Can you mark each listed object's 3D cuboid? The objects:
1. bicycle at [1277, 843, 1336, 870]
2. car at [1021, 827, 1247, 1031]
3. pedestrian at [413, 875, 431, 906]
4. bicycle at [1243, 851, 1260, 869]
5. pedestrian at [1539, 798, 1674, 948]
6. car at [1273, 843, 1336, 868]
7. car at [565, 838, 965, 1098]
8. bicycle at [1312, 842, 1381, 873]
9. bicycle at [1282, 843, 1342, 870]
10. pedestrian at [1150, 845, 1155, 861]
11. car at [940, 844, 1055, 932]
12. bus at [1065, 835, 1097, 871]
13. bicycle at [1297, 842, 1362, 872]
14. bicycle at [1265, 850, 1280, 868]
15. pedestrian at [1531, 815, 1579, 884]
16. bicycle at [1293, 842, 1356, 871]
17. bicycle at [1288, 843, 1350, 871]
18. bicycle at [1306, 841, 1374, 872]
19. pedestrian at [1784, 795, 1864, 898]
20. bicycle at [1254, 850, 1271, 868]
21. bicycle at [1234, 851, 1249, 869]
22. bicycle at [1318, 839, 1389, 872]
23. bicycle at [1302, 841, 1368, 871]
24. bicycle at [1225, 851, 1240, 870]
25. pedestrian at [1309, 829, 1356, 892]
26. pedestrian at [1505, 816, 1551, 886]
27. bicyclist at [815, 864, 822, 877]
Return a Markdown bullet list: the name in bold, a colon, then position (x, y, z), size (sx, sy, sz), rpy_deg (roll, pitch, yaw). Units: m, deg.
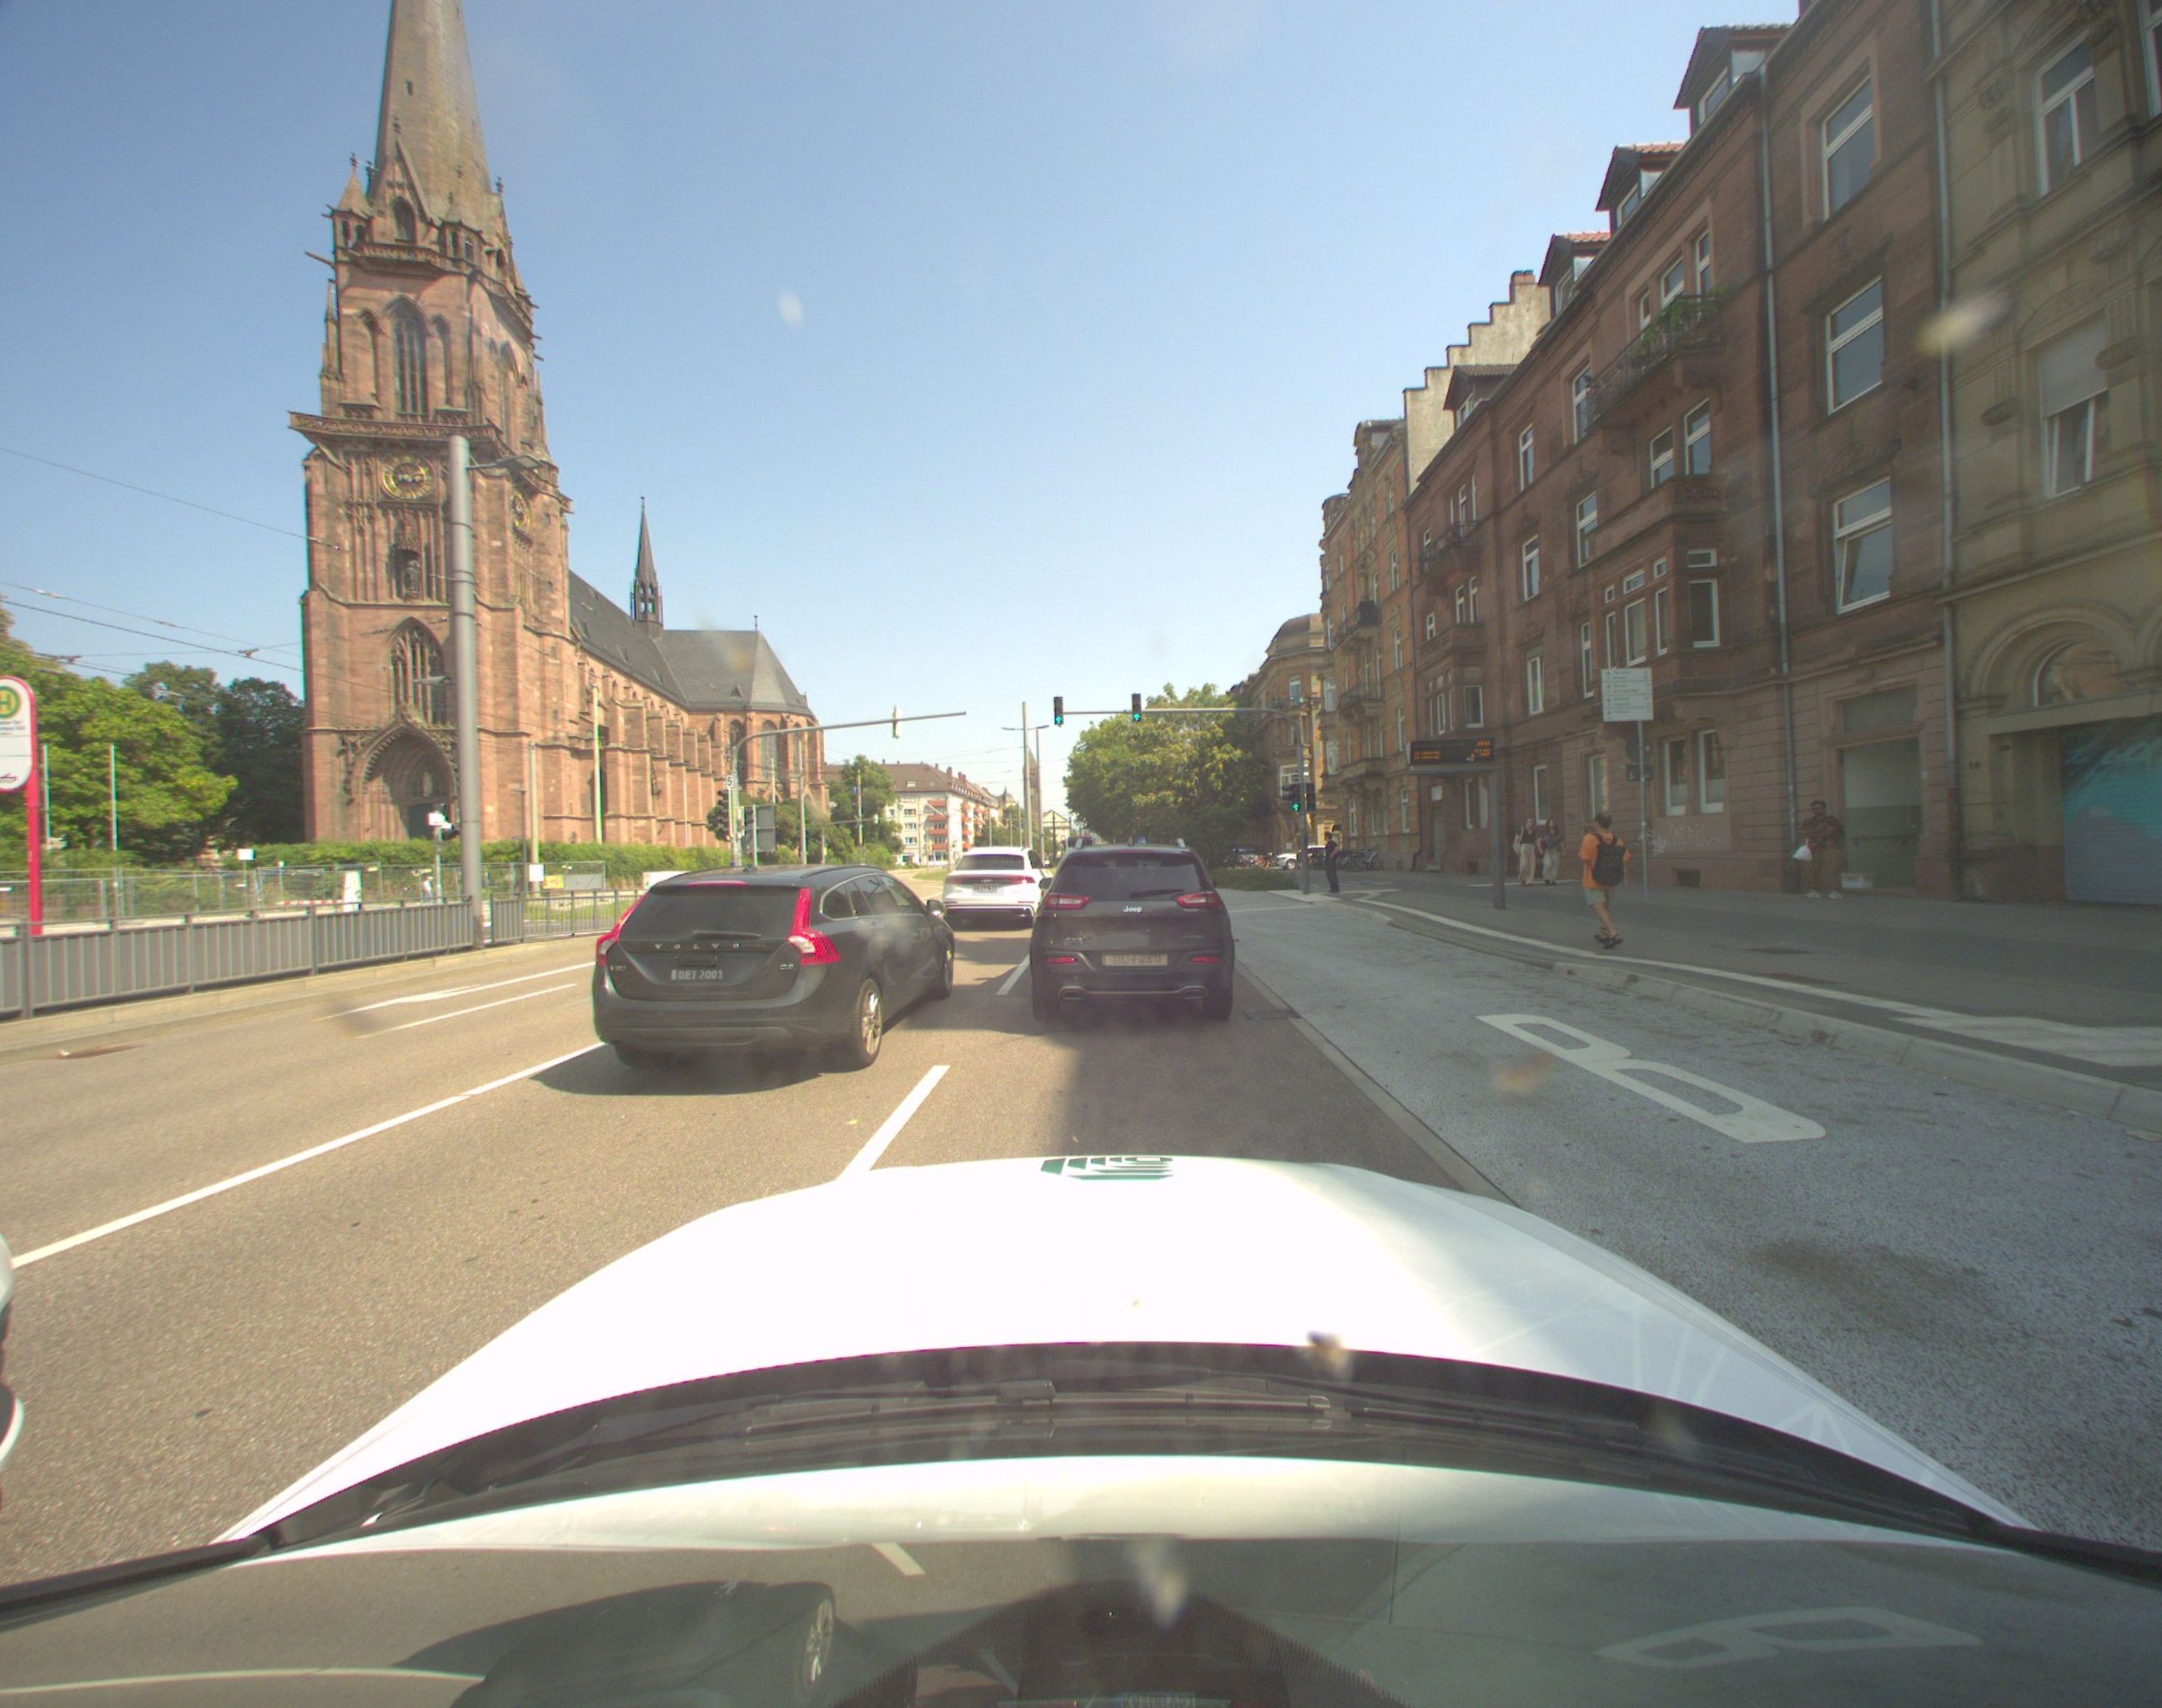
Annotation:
- **bicycle**: position (12.727, 0.129, 46.033), size (2.993, 1.373, 0.948), rpy_deg (-2, 0, 1)
- **car**: position (0.546, 0.613, 8.841), size (1.825, 1.651, 4.312), rpy_deg (-1, 0, 3)
- **pedestrian**: position (-33.372, 1.854, 41.239), size (0.543, 1.531, 0.433), rpy_deg (-2, 0, -13)
- **bicycle**: position (12.192, 0.394, 58.327), size (0.729, 1.253, 3.017), rpy_deg (-2, 0, 4)
- **pedestrian**: position (6.558, 0.240, 10.249), size (0.958, 1.741, 1.242), rpy_deg (-2, -2, 10)
- **car**: position (15.686, 0.104, 57.276), size (3.926, 1.521, 1.679), rpy_deg (-2, 0, -6)
- **car**: position (-2.305, 0.712, 7.280), size (1.741, 1.614, 4.310), rpy_deg (-1, 0, 2)
- **bicycle**: position (12.611, 0.164, 38.762), size (2.983, 1.371, 0.871), rpy_deg (-2, 0, 1)
- **bicycle**: position (12.734, 0.144, 44.990), size (2.993, 1.373, 0.948), rpy_deg (-2, 0, 1)
- **pedestrian**: position (9.238, -0.133, 105.647), size (0.526, 2.013, 0.532), rpy_deg (-2, 0, 0)
- **car**: position (-1.673, 0.640, 17.769), size (1.895, 1.651, 4.310), rpy_deg (-1, 0, 2)
- **bus**: position (0.061, -0.062, 75.685), size (2.734, 3.107, 11.956), rpy_deg (0, 0, 1)
- **bicycle**: position (12.686, 0.138, 41.567), size (2.993, 1.373, 0.948), rpy_deg (-2, 0, 1)
- **bicycle**: position (13.793, 0.328, 58.737), size (0.655, 1.249, 2.415), rpy_deg (-2, 0, 4)
- **pedestrian**: position (12.504, -0.118, 21.494), size (0.712, 1.778, 0.870), rpy_deg (-2, 0, 0)
- **bicycle**: position (12.734, 0.139, 42.661), size (2.993, 1.373, 0.948), rpy_deg (-2, 0, 1)
- **bicycle**: position (12.729, 0.158, 43.672), size (2.993, 1.373, 0.948), rpy_deg (-2, 0, 1)
- **bicycle**: position (12.600, 0.113, 39.676), size (2.983, 1.371, 0.871), rpy_deg (-2, 0, 1)
- **pedestrian**: position (13.278, -0.130, 14.568), size (0.872, 1.778, 0.737), rpy_deg (-2, 0, -26)
- **bicycle**: position (12.979, 0.362, 58.322), size (0.759, 1.253, 3.017), rpy_deg (-2, 0, 4)
- **bicycle**: position (11.496, 0.421, 58.344), size (0.646, 1.253, 3.017), rpy_deg (-2, 0, 4)
- **bicycle**: position (12.650, 0.068, 37.855), size (2.983, 1.371, 0.871), rpy_deg (-2, 0, 1)
- **bicycle**: position (12.654, 0.114, 40.623), size (2.983, 1.371, 0.871), rpy_deg (-2, 0, 1)
- **bicycle**: position (10.839, 0.451, 58.385), size (0.646, 1.253, 3.017), rpy_deg (-2, 0, 4)
- **pedestrian**: position (7.209, 0.179, 23.379), size (0.771, 1.741, 0.892), rpy_deg (-3, -1, -33)
- **pedestrian**: position (11.775, -0.083, 21.473), size (0.711, 1.776, 0.848), rpy_deg (-2, 0, 1)
- **bicyclist**: position (-25.370, 1.593, 78.747), size (0.446, 1.321, 0.425), rpy_deg (-2, 0, 3)
